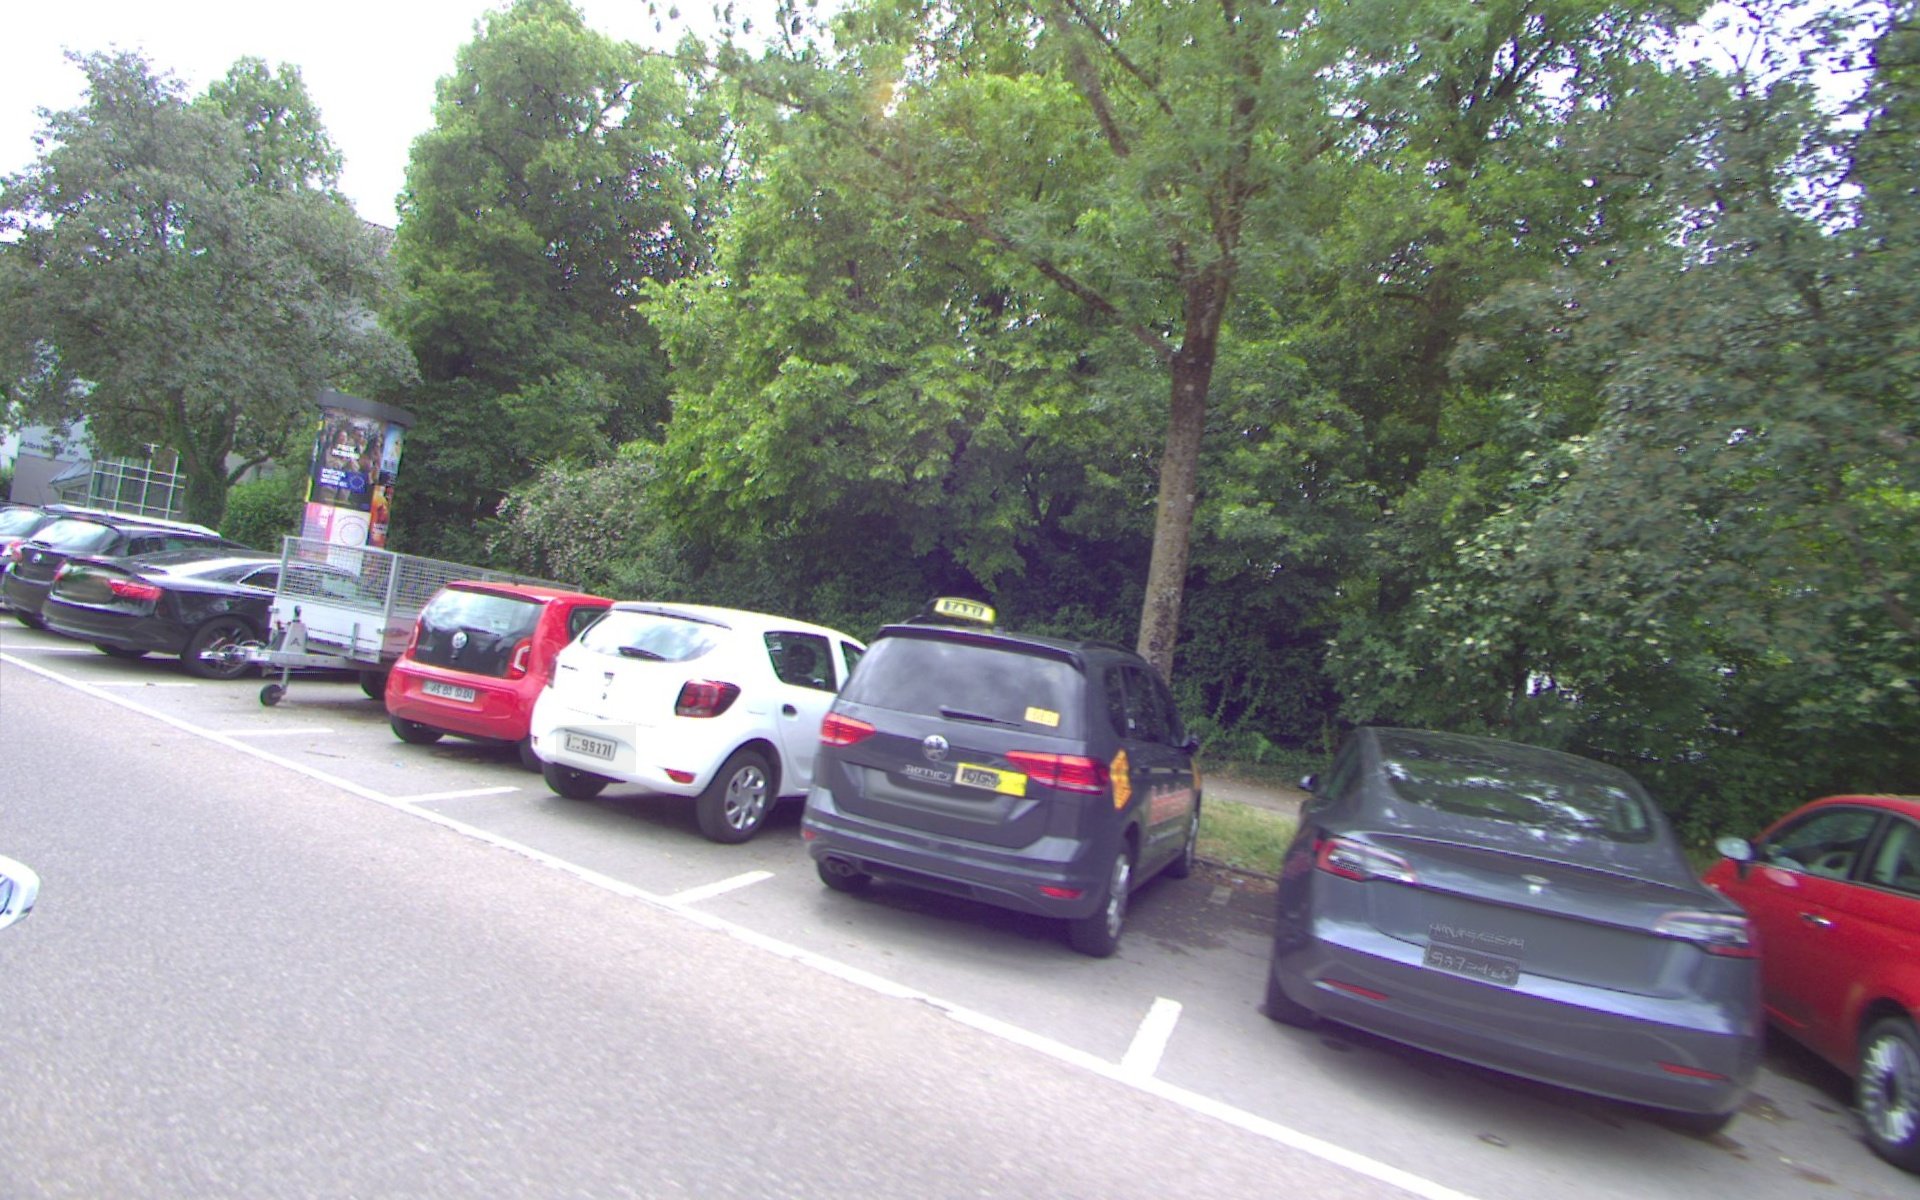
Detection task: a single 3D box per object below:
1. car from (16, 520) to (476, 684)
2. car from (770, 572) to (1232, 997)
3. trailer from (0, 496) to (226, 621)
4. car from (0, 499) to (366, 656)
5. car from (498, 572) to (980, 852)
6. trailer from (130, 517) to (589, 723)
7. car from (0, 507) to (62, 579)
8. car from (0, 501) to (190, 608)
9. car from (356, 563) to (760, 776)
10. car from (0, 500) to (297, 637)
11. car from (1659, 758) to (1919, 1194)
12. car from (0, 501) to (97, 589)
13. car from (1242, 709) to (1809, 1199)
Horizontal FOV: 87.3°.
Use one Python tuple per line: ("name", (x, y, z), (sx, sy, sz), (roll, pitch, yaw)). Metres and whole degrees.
("car", (-7.919, 0.150, 11.676), (1.531, 1.342, 4.054), (7, -3, 22))
("car", (0.631, 1.023, 6.690), (1.650, 1.744, 4.003), (7, -3, 22))
("trailer", (-14.042, -0.643, 16.394), (1.279, 1.559, 3.000), (9, -2, 18))
("car", (-10.242, -0.188, 13.329), (1.587, 1.502, 3.931), (8, -3, 16))
("car", (-1.455, 0.874, 8.114), (1.578, 1.546, 3.834), (7, -3, 27))
("trailer", (-5.827, 0.335, 10.327), (1.615, 1.551, 3.706), (8, -3, 20))
("car", (-20.784, -1.441, 19.752), (1.701, 1.355, 4.334), (8, -3, 17))
("car", (-16.011, -0.885, 17.126), (1.603, 1.461, 4.366), (8, -3, 17))
("car", (-3.522, 0.686, 9.516), (1.530, 1.461, 3.441), (7, -3, 19))
("car", (-12.240, -0.426, 14.771), (1.603, 1.471, 3.858), (8, -3, 19))
("car", (4.971, 1.731, 4.960), (1.605, 1.480, 3.341), (7, -3, 21))
("car", (-18.576, -1.213, 18.540), (1.603, 1.461, 3.628), (8, -3, 16))
("car", (2.666, 1.445, 5.593), (1.666, 1.422, 4.179), (7, -3, 20))
